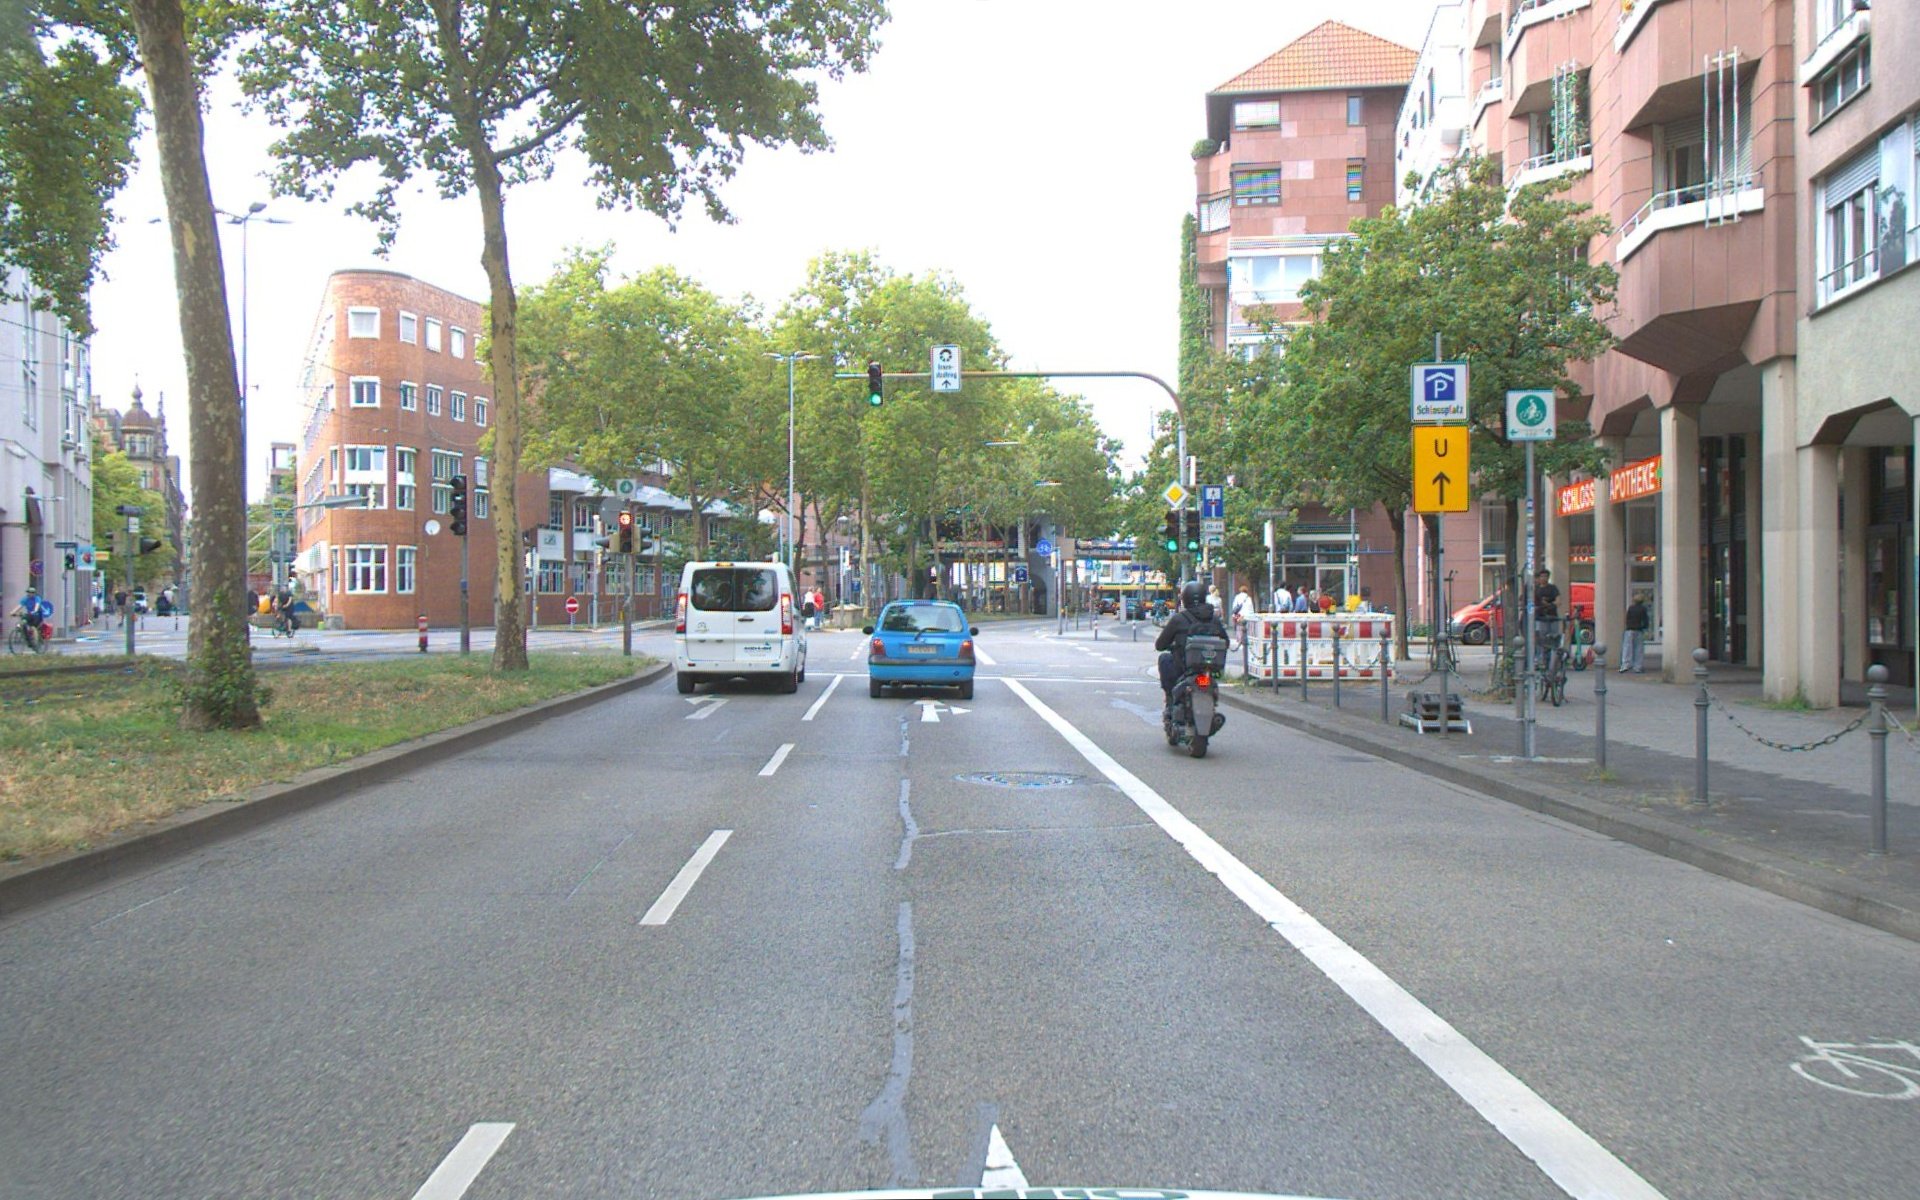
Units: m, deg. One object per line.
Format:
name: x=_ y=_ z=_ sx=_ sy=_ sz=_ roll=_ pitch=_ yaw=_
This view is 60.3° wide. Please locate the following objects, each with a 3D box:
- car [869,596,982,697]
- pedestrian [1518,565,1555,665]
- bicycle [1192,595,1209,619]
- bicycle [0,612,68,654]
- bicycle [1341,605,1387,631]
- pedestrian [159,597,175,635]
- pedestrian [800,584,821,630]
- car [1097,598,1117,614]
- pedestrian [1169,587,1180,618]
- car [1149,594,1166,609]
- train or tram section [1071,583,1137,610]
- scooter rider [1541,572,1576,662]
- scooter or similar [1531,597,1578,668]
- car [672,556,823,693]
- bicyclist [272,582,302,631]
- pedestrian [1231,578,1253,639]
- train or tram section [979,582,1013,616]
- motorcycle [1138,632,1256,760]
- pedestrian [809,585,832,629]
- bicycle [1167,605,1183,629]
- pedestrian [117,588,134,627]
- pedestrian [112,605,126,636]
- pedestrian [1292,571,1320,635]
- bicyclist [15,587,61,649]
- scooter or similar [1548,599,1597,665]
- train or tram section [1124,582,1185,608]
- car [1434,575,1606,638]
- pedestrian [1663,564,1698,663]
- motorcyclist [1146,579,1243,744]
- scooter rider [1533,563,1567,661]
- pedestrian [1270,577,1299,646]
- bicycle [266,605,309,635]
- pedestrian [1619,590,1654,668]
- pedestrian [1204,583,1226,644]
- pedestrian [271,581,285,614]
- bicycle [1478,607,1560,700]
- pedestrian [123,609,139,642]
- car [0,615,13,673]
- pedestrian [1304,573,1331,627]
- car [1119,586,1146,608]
car: x=-0.526 y=0.651 z=25.397 sx=1.607 sy=1.410 sz=3.842 roll=0 pitch=0 yaw=-1
pedestrian: x=10.699 y=0.277 z=30.710 sx=0.539 sy=1.831 sz=0.658 roll=0 pitch=0 yaw=9
bicycle: x=10.444 y=0.296 z=71.750 sx=0.604 sy=1.026 sz=1.736 roll=0 pitch=0 yaw=4
bicycle: x=-25.478 y=0.888 z=45.540 sx=0.676 sy=1.111 sz=1.878 roll=0 pitch=0 yaw=5
bicycle: x=15.767 y=0.698 z=64.527 sx=1.693 sy=1.026 sz=0.479 roll=0 pitch=0 yaw=5
pedestrian: x=-41.881 y=0.855 z=87.355 sx=0.780 sy=1.998 sz=0.799 roll=0 pitch=0 yaw=-26
pedestrian: x=-5.813 y=0.267 z=64.236 sx=0.541 sy=1.748 sz=0.891 roll=0 pitch=0 yaw=16
car: x=16.171 y=0.640 z=181.746 sx=1.846 sy=1.652 sz=4.003 roll=0 pitch=0 yaw=10
pedestrian: x=13.323 y=0.150 z=102.860 sx=0.633 sy=1.891 sz=0.783 roll=0 pitch=0 yaw=8
car: x=21.456 y=0.129 z=179.528 sx=1.662 sy=1.629 sz=4.003 roll=0 pitch=0 yaw=10
train or tram section: x=18.102 y=-0.503 z=207.323 sx=8.713 sy=3.311 sz=2.368 roll=-1 pitch=0 yaw=-35
scooter rider: x=10.607 y=0.301 z=29.339 sx=0.451 sy=1.584 sz=0.565 roll=0 pitch=0 yaw=6
scooter or similar: x=10.640 y=0.568 z=29.620 sx=0.463 sy=1.227 sz=1.331 roll=0 pitch=0 yaw=5
car: x=-3.288 y=0.326 z=26.504 sx=1.893 sy=1.959 sz=4.954 roll=-1 pitch=1 yaw=-2
bicyclist: x=-26.075 y=0.255 z=64.096 sx=0.653 sy=1.880 sz=1.081 roll=-1 pitch=0 yaw=3
pedestrian: x=7.624 y=0.232 z=44.791 sx=0.506 sy=1.644 sz=0.851 roll=0 pitch=0 yaw=5
train or tram section: x=3.782 y=-0.097 z=171.551 sx=2.338 sy=3.310 sz=8.825 roll=-1 pitch=0 yaw=9
motorcycle: x=2.296 y=0.904 z=16.302 sx=0.752 sy=1.126 sz=2.207 roll=-1 pitch=0 yaw=-2
pedestrian: x=-5.483 y=0.274 z=65.156 sx=0.542 sy=1.748 sz=0.890 roll=0 pitch=0 yaw=25
bicycle: x=9.408 y=0.723 z=72.372 sx=0.604 sy=1.026 sz=1.736 roll=0 pitch=0 yaw=4
pedestrian: x=-37.324 y=0.335 z=73.965 sx=0.666 sy=1.709 sz=0.746 roll=0 pitch=0 yaw=-29
pedestrian: x=-47.247 y=1.148 z=92.952 sx=0.684 sy=1.700 sz=0.824 roll=0 pitch=0 yaw=-28
pedestrian: x=9.504 y=0.088 z=45.470 sx=0.638 sy=1.730 sz=1.023 roll=0 pitch=0 yaw=6
bicyclist: x=-25.469 y=0.498 z=45.698 sx=0.675 sy=1.702 sz=0.954 roll=0 pitch=0 yaw=5
scooter or similar: x=11.379 y=0.579 z=30.750 sx=0.542 sy=1.190 sz=1.407 roll=0 pitch=0 yaw=7
train or tram section: x=25.019 y=-0.661 z=212.141 sx=8.261 sy=3.311 sz=2.368 roll=-1 pitch=0 yaw=-35
car: x=17.078 y=0.227 z=50.626 sx=4.723 sy=1.857 sz=2.001 roll=0 pitch=-2 yaw=11
pedestrian: x=13.589 y=0.254 z=31.193 sx=0.541 sy=1.831 sz=0.656 roll=0 pitch=0 yaw=28
motorcyclist: x=2.291 y=0.585 z=16.244 sx=0.744 sy=1.546 sz=1.017 roll=-1 pitch=0 yaw=-3
scooter rider: x=10.656 y=0.214 z=29.887 sx=0.453 sy=1.750 sz=0.553 roll=0 pitch=0 yaw=5
pedestrian: x=8.902 y=0.315 z=45.402 sx=0.662 sy=1.860 sz=0.851 roll=0 pitch=0 yaw=5
bicycle: x=-26.068 y=0.777 z=64.133 sx=0.663 sy=1.112 sz=2.210 roll=-1 pitch=0 yaw=3
pedestrian: x=11.853 y=0.506 z=28.978 sx=0.476 sy=1.347 sz=0.485 roll=0 pitch=0 yaw=12
pedestrian: x=6.911 y=0.361 z=44.905 sx=0.506 sy=1.644 sz=0.851 roll=0 pitch=0 yaw=3
pedestrian: x=-38.831 y=-0.140 z=94.162 sx=0.684 sy=1.849 sz=0.650 roll=0 pitch=0 yaw=-28
bicycle: x=7.224 y=0.668 z=21.437 sx=0.599 sy=1.137 sz=1.806 roll=0 pitch=0 yaw=6
pedestrian: x=-52.492 y=1.582 z=104.744 sx=0.852 sy=2.049 sz=1.333 roll=0 pitch=0 yaw=-26
car: x=-21.913 y=0.987 z=34.641 sx=1.695 sy=1.267 sz=4.532 roll=0 pitch=0 yaw=-2
pedestrian: x=10.384 y=0.002 z=48.099 sx=0.661 sy=1.565 sz=0.948 roll=0 pitch=0 yaw=6
car: x=12.848 y=-0.225 z=123.029 sx=1.662 sy=1.629 sz=4.004 roll=0 pitch=0 yaw=10
